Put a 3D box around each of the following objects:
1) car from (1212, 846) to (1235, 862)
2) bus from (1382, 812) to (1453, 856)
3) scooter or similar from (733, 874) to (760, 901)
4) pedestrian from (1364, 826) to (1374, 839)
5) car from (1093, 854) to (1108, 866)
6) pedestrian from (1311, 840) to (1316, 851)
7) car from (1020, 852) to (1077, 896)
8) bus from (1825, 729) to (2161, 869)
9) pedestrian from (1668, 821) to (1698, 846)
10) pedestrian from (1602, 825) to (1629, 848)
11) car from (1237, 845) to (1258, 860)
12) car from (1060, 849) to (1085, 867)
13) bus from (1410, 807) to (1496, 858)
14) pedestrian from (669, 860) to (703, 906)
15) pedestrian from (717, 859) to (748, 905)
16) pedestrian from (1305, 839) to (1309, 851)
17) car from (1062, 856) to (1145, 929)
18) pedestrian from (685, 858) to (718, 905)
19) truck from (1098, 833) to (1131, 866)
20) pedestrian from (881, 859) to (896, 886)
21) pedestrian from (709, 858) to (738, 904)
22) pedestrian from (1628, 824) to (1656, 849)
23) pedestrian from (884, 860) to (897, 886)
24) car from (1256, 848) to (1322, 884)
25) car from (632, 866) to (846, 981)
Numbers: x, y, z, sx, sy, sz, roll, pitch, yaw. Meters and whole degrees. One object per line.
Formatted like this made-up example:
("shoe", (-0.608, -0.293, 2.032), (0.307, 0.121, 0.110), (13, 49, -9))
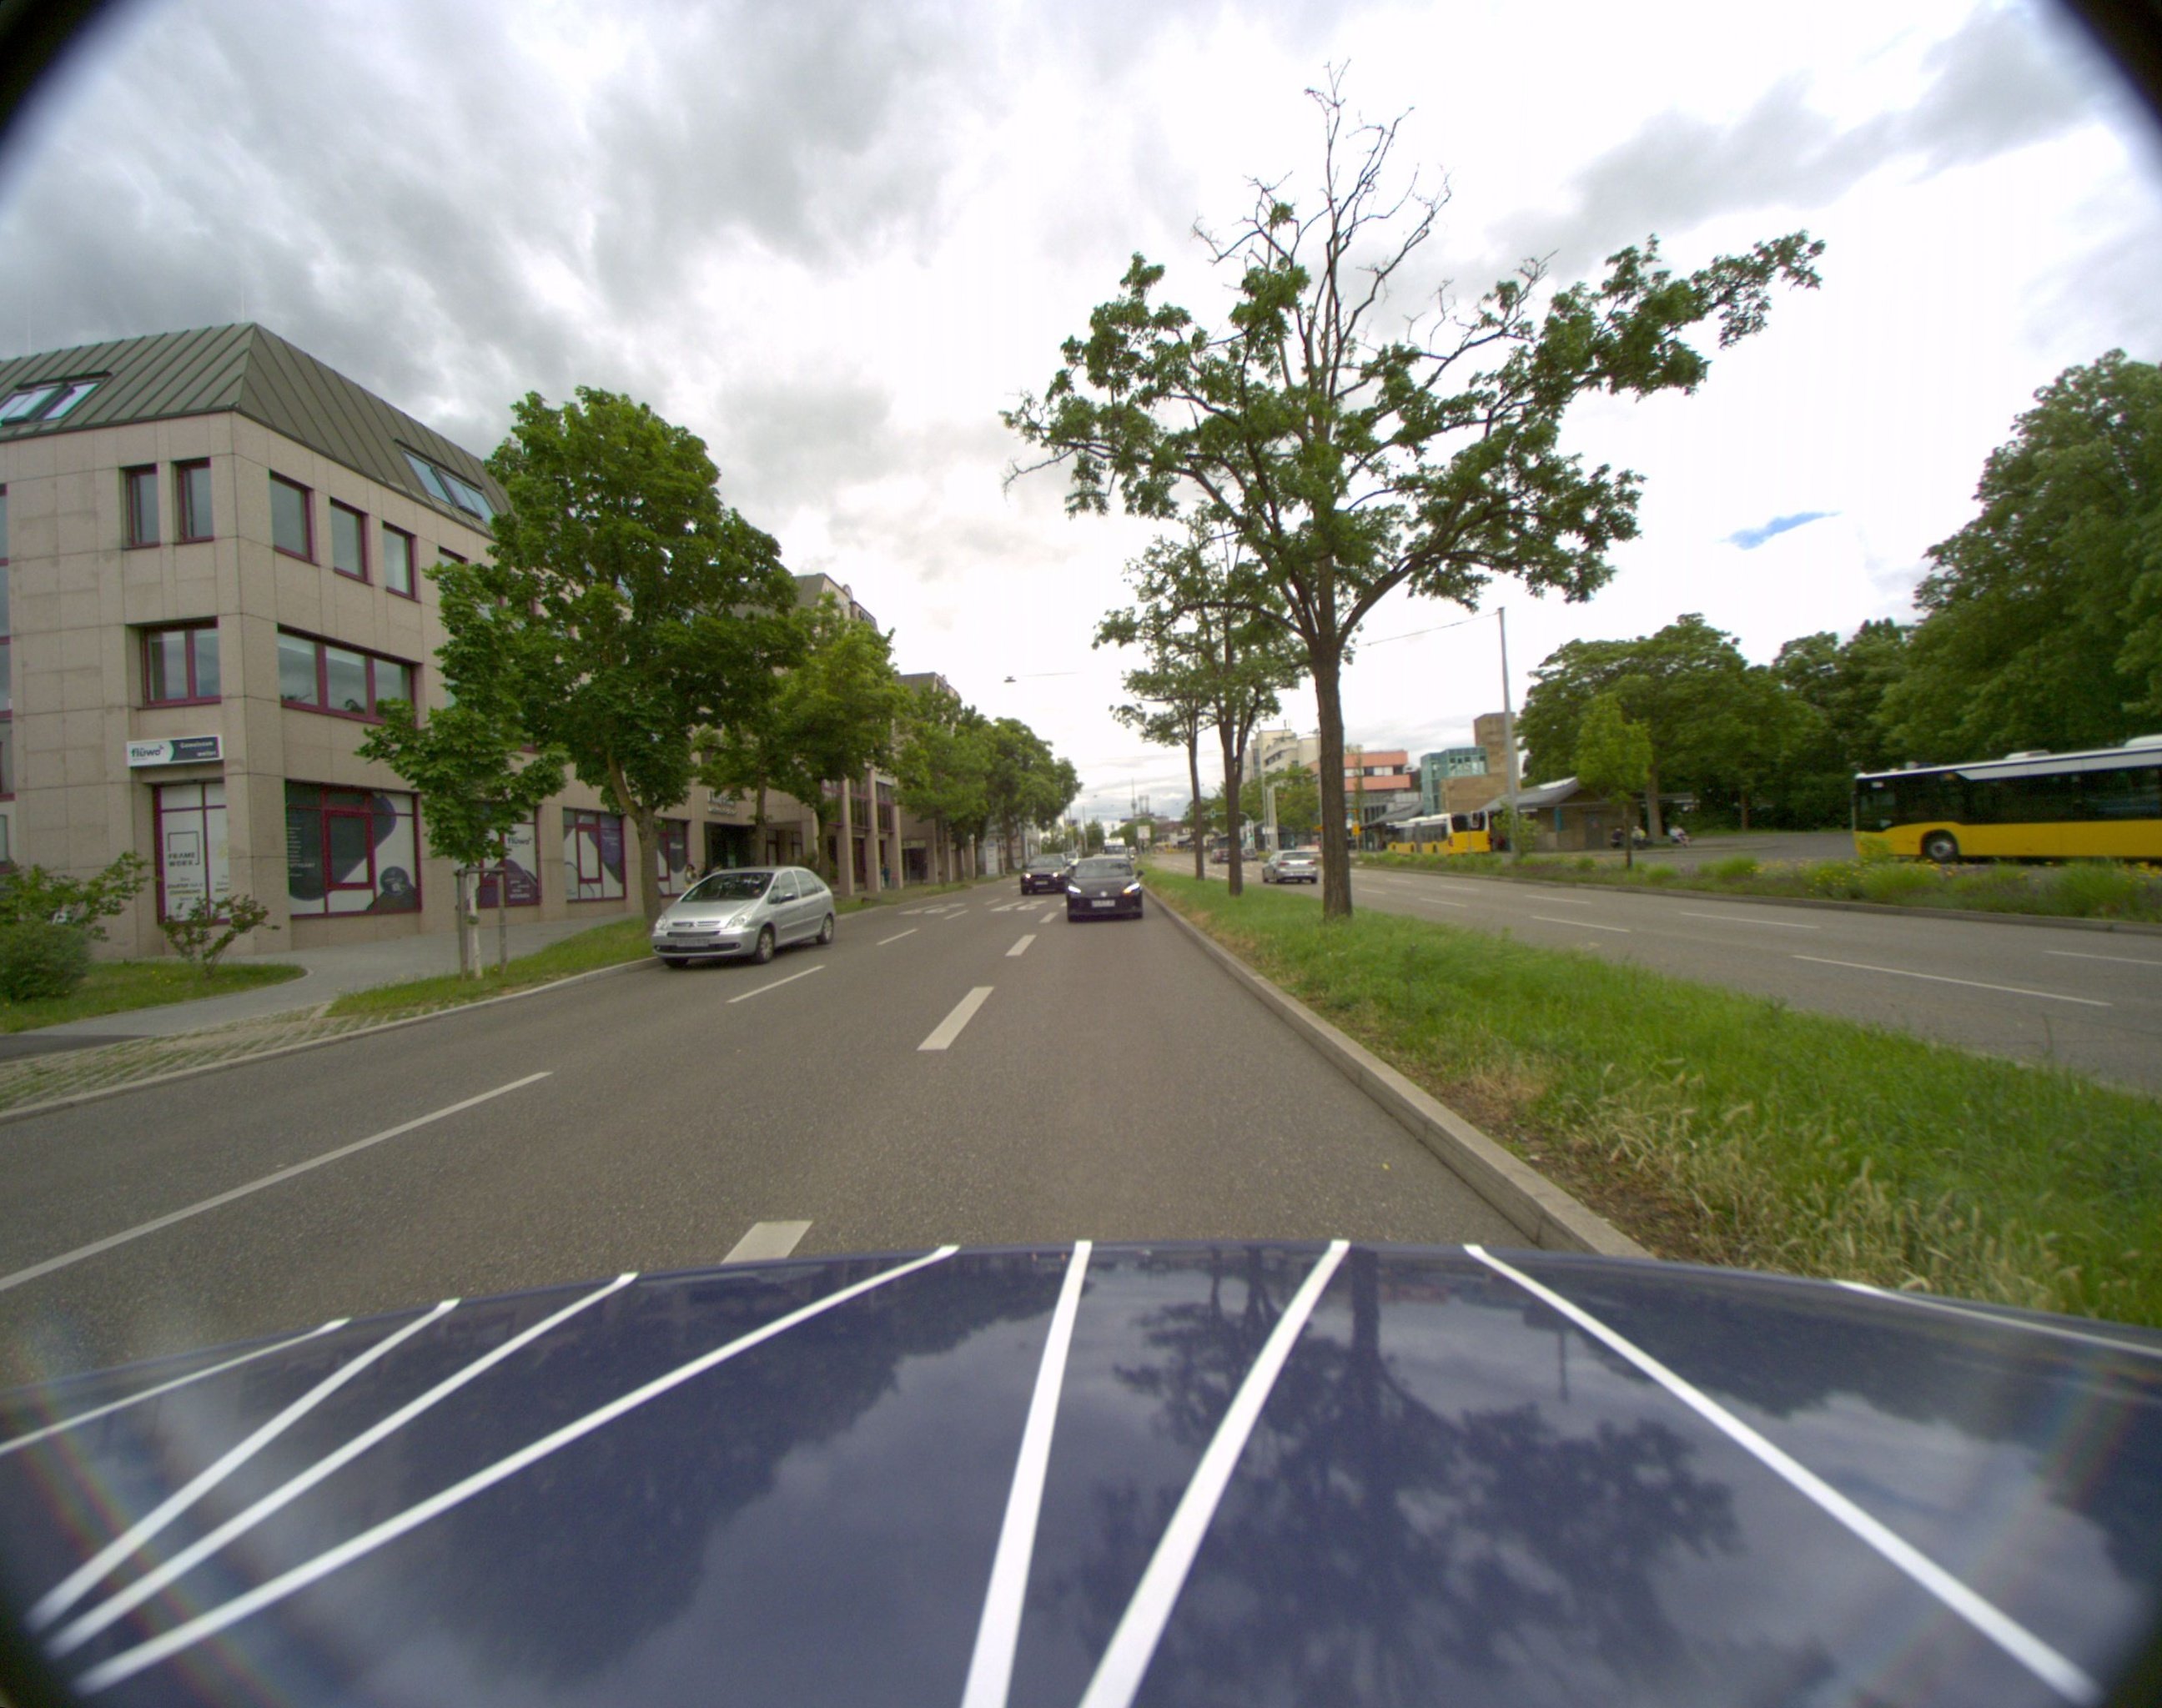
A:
("car", (14.743, -0.035, 78.707), (1.662, 1.499, 3.769), (-3, 1, 2))
("bus", (27.628, -1.561, 62.891), (2.781, 3.113, 9.444), (-5, 0, 9))
("scooter or similar", (-12.885, 1.269, 29.273), (0.585, 0.988, 0.847), (-1, 1, 7))
("pedestrian", (34.358, -2.548, 90.551), (0.990, 1.452, 0.592), (-3, 1, 18))
("car", (2.611, 0.821, 101.901), (1.895, 1.531, 4.048), (-2, 0, 3))
("pedestrian", (32.611, -1.145, 106.580), (0.485, 1.539, 0.383), (-3, 1, -6))
("car", (-1.358, 0.823, 33.799), (2.150, 1.630, 5.095), (-4, 0, 1))
("bus", (26.074, -1.411, 19.907), (3.090, 3.144, 10.741), (-7, -1, 6))
("pedestrian", (31.936, -1.098, 40.336), (0.895, 1.247, 0.858), (-3, 1, 3))
("pedestrian", (30.499, -0.972, 43.344), (0.859, 1.247, 0.894), (-3, 1, -26))
("car", (18.584, -0.189, 84.730), (1.819, 1.499, 4.001), (-3, 1, 6))
("car", (-0.728, 0.346, 67.952), (1.895, 1.531, 4.048), (-2, 0, 3))
("bus", (26.096, -1.438, 53.833), (2.814, 3.113, 9.306), (-5, 0, 10))
("pedestrian", (-14.909, 1.080, 28.683), (0.596, 1.695, 0.970), (-3, 1, 6))
("pedestrian", (-13.004, 1.033, 28.367), (0.556, 1.643, 0.962), (-1, 1, 7))
("pedestrian", (31.713, -1.255, 106.572), (0.529, 1.539, 0.754), (-3, 1, 18))
("car", (0.596, 0.852, 18.807), (1.763, 1.531, 4.048), (-2, 0, 3))
("pedestrian", (-14.267, 1.031, 28.577), (0.596, 1.695, 0.970), (-3, 1, 6))
("truck", (3.425, -0.456, 80.111), (3.118, 3.209, 6.524), (-3, 0, 1))
("pedestrian", (-12.114, 1.170, 47.830), (0.659, 1.681, 0.843), (-1, 1, 6))
("pedestrian", (-13.589, 1.025, 28.898), (0.568, 1.690, 0.829), (-3, 1, 6))
("pedestrian", (30.370, -0.964, 41.128), (0.859, 1.283, 0.894), (-3, 1, -22))
("pedestrian", (-11.583, 1.163, 46.161), (0.562, 1.541, 0.544), (-1, 1, 6))
("car", (9.023, 0.506, 33.279), (1.757, 1.436, 4.134), (-1, 0, 0))
("car", (-5.888, 1.104, 13.721), (1.763, 1.625, 4.156), (-2, 0, 3))
